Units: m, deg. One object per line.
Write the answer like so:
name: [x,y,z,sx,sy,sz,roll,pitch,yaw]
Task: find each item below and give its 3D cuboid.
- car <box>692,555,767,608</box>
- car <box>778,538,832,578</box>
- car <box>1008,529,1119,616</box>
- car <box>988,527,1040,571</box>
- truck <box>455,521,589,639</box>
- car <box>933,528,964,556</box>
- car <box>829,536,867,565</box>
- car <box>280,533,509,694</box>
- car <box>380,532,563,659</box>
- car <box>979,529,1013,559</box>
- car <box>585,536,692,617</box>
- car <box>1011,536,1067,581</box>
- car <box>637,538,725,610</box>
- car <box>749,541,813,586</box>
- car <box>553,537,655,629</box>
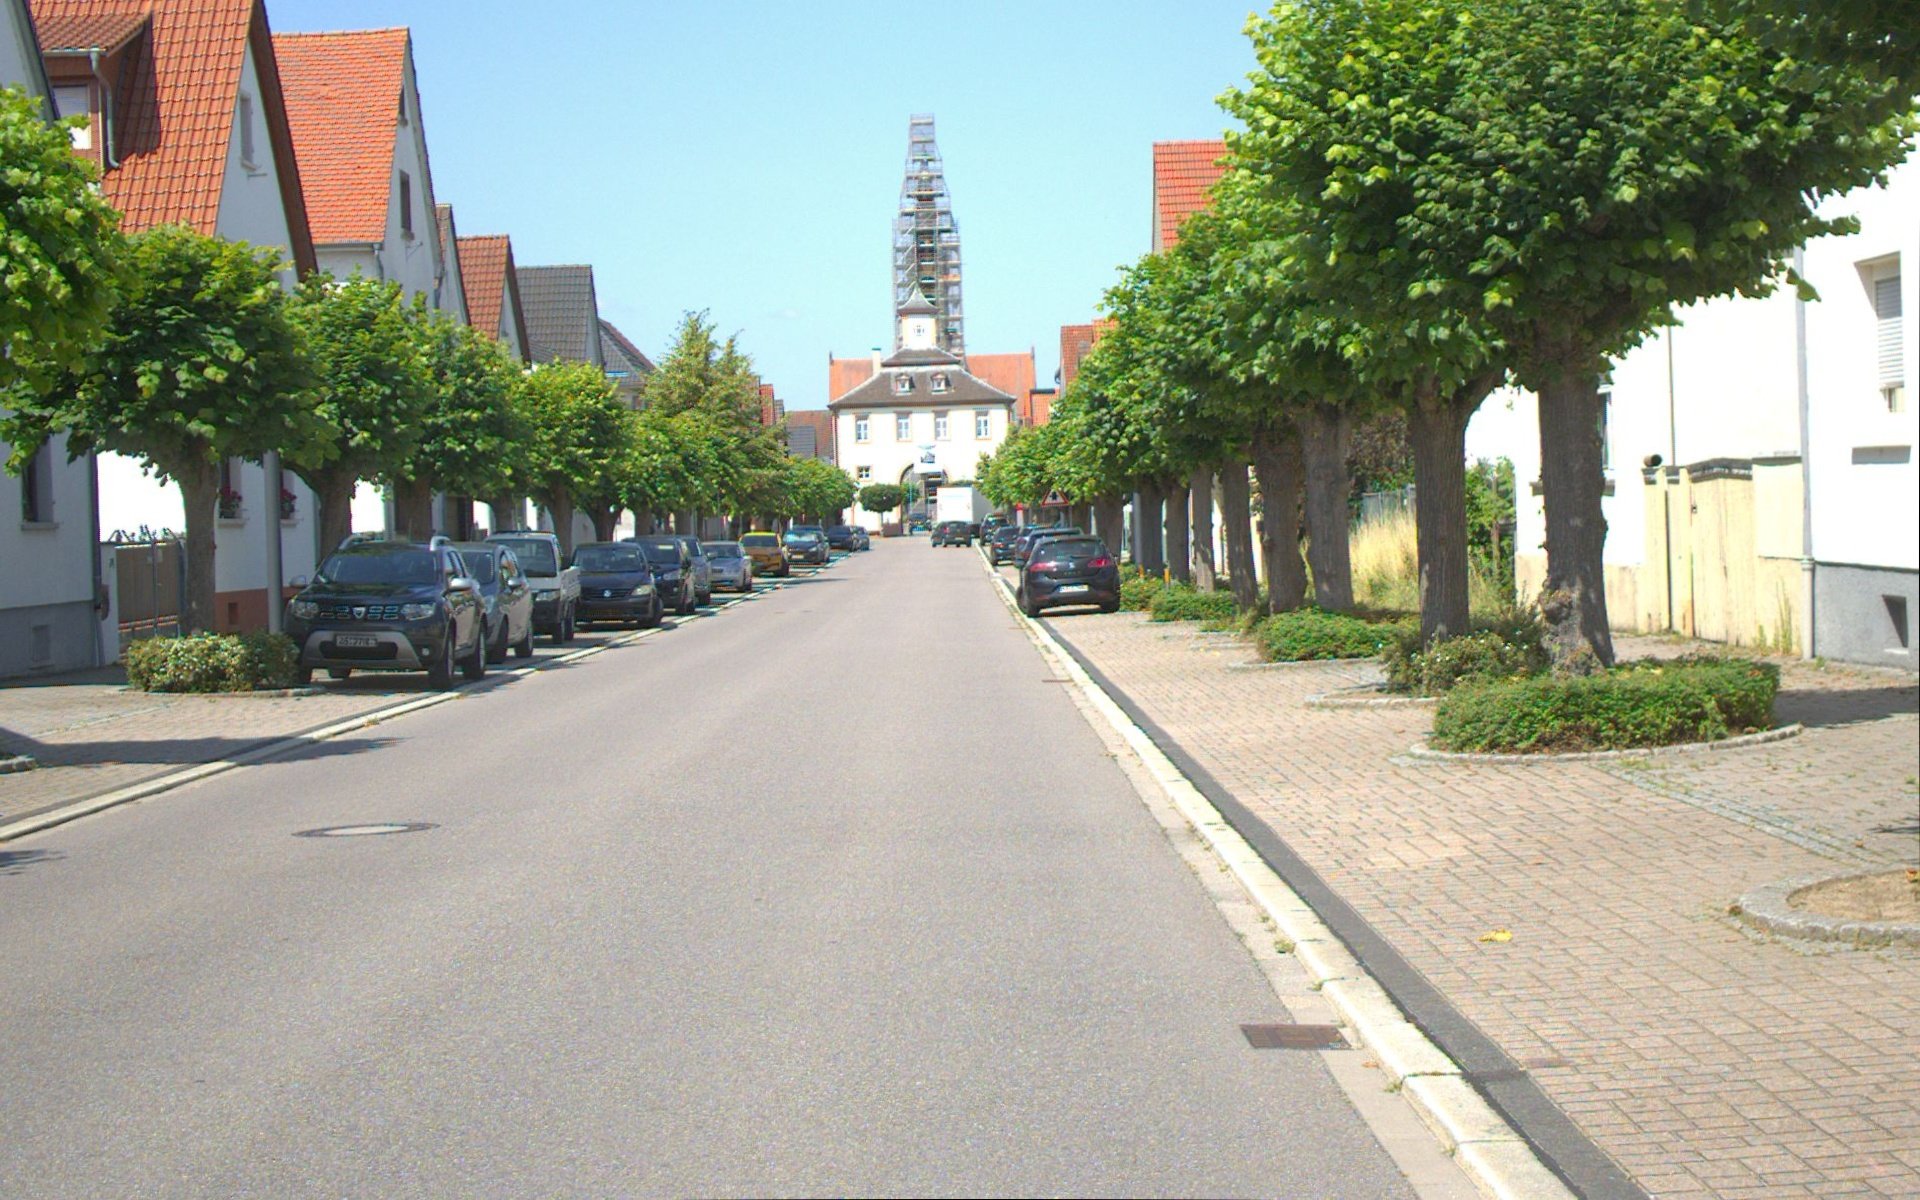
car: [-6.395,-0.538,95.733,1.840,1.391,4.407,-1,1,-1]
car: [-6.625,-1.815,147.441,1.993,1.606,4.689,1,2,1]
car: [1.871,-0.533,63.366,1.824,1.427,4.057,-3,1,0]
car: [2.069,-1.983,133.135,1.837,1.550,4.314,-3,1,0]
truck: [-6.857,-0.328,54.133,1.576,1.759,4.192,1,1,0]
car: [-0.669,-3.300,194.769,1.729,1.542,3.455,0,0,0]
car: [-6.371,-2.790,195.934,1.993,1.606,3.855,0,0,1]
car: [-6.270,0.102,38.545,1.853,1.631,4.299,1,2,0]
car: [-6.565,-0.078,46.580,1.853,1.607,4.371,1,1,0]
car: [2.063,-3.199,195.799,1.837,1.550,4.314,-3,1,1]
car: [-6.661,-0.489,71.498,1.853,1.629,4.057,0,1,0]
car: [2.867,-1.527,125.501,1.837,1.602,4.000,-1,1,-1]
car: [-6.556,-0.644,81.106,1.993,1.647,4.368,0,1,-3]
car: [-6.535,-1.343,125.870,1.993,1.606,4.689,0,1,1]
car: [-6.494,-0.323,62.898,1.785,1.628,4.001,0,1,-6]
